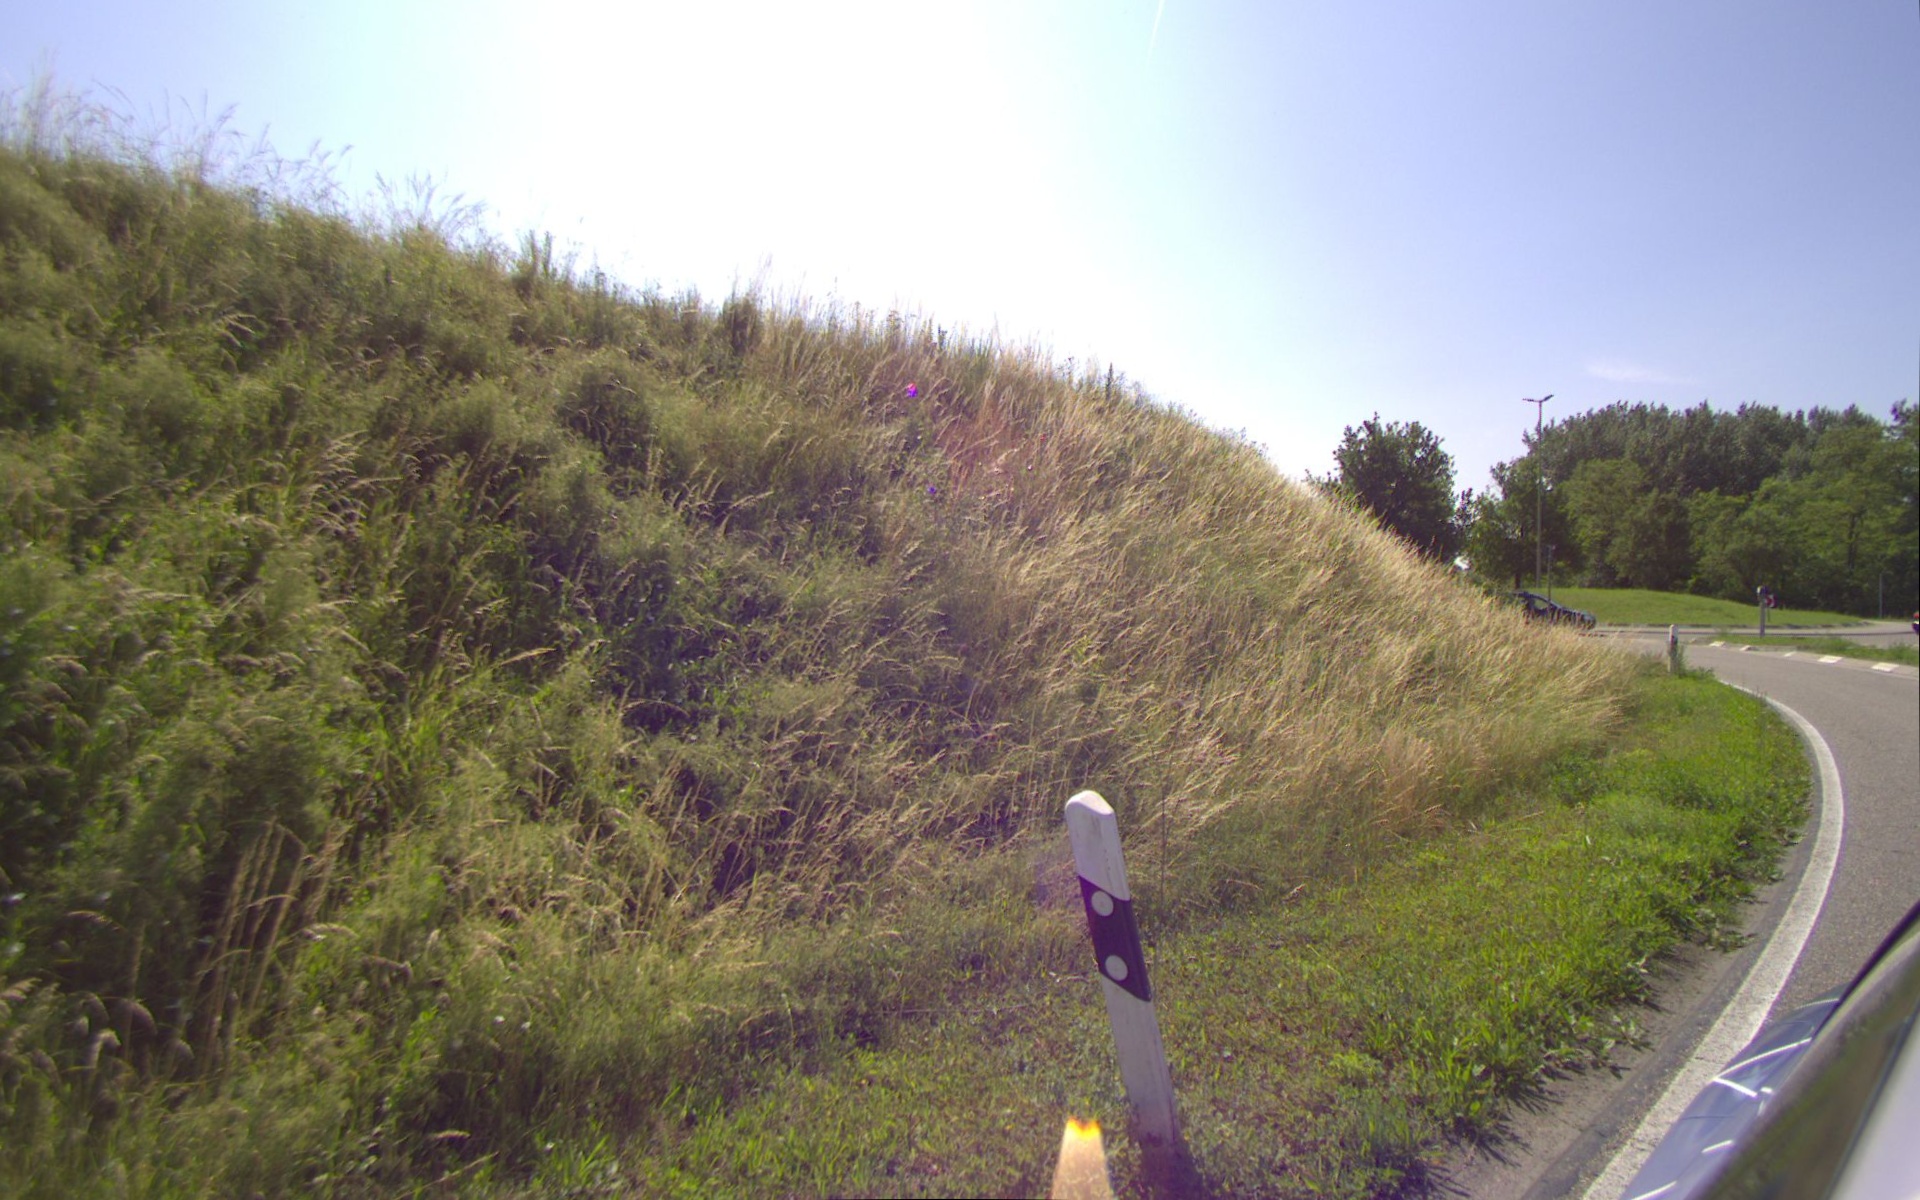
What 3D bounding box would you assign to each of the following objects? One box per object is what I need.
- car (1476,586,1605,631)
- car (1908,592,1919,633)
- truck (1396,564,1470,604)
[{"bbox_3d":[22.879,0.289,40.008,4.317,1.677,1.689,0,1,31],"label":"car"},{"bbox_3d":[38.533,0.467,38.453,4.581,1.508,1.818,-1,2,-21],"label":"car"},{"bbox_3d":[36.010,-1.167,76.859,2.472,2.867,8.917,0,0,43],"label":"truck"}]
